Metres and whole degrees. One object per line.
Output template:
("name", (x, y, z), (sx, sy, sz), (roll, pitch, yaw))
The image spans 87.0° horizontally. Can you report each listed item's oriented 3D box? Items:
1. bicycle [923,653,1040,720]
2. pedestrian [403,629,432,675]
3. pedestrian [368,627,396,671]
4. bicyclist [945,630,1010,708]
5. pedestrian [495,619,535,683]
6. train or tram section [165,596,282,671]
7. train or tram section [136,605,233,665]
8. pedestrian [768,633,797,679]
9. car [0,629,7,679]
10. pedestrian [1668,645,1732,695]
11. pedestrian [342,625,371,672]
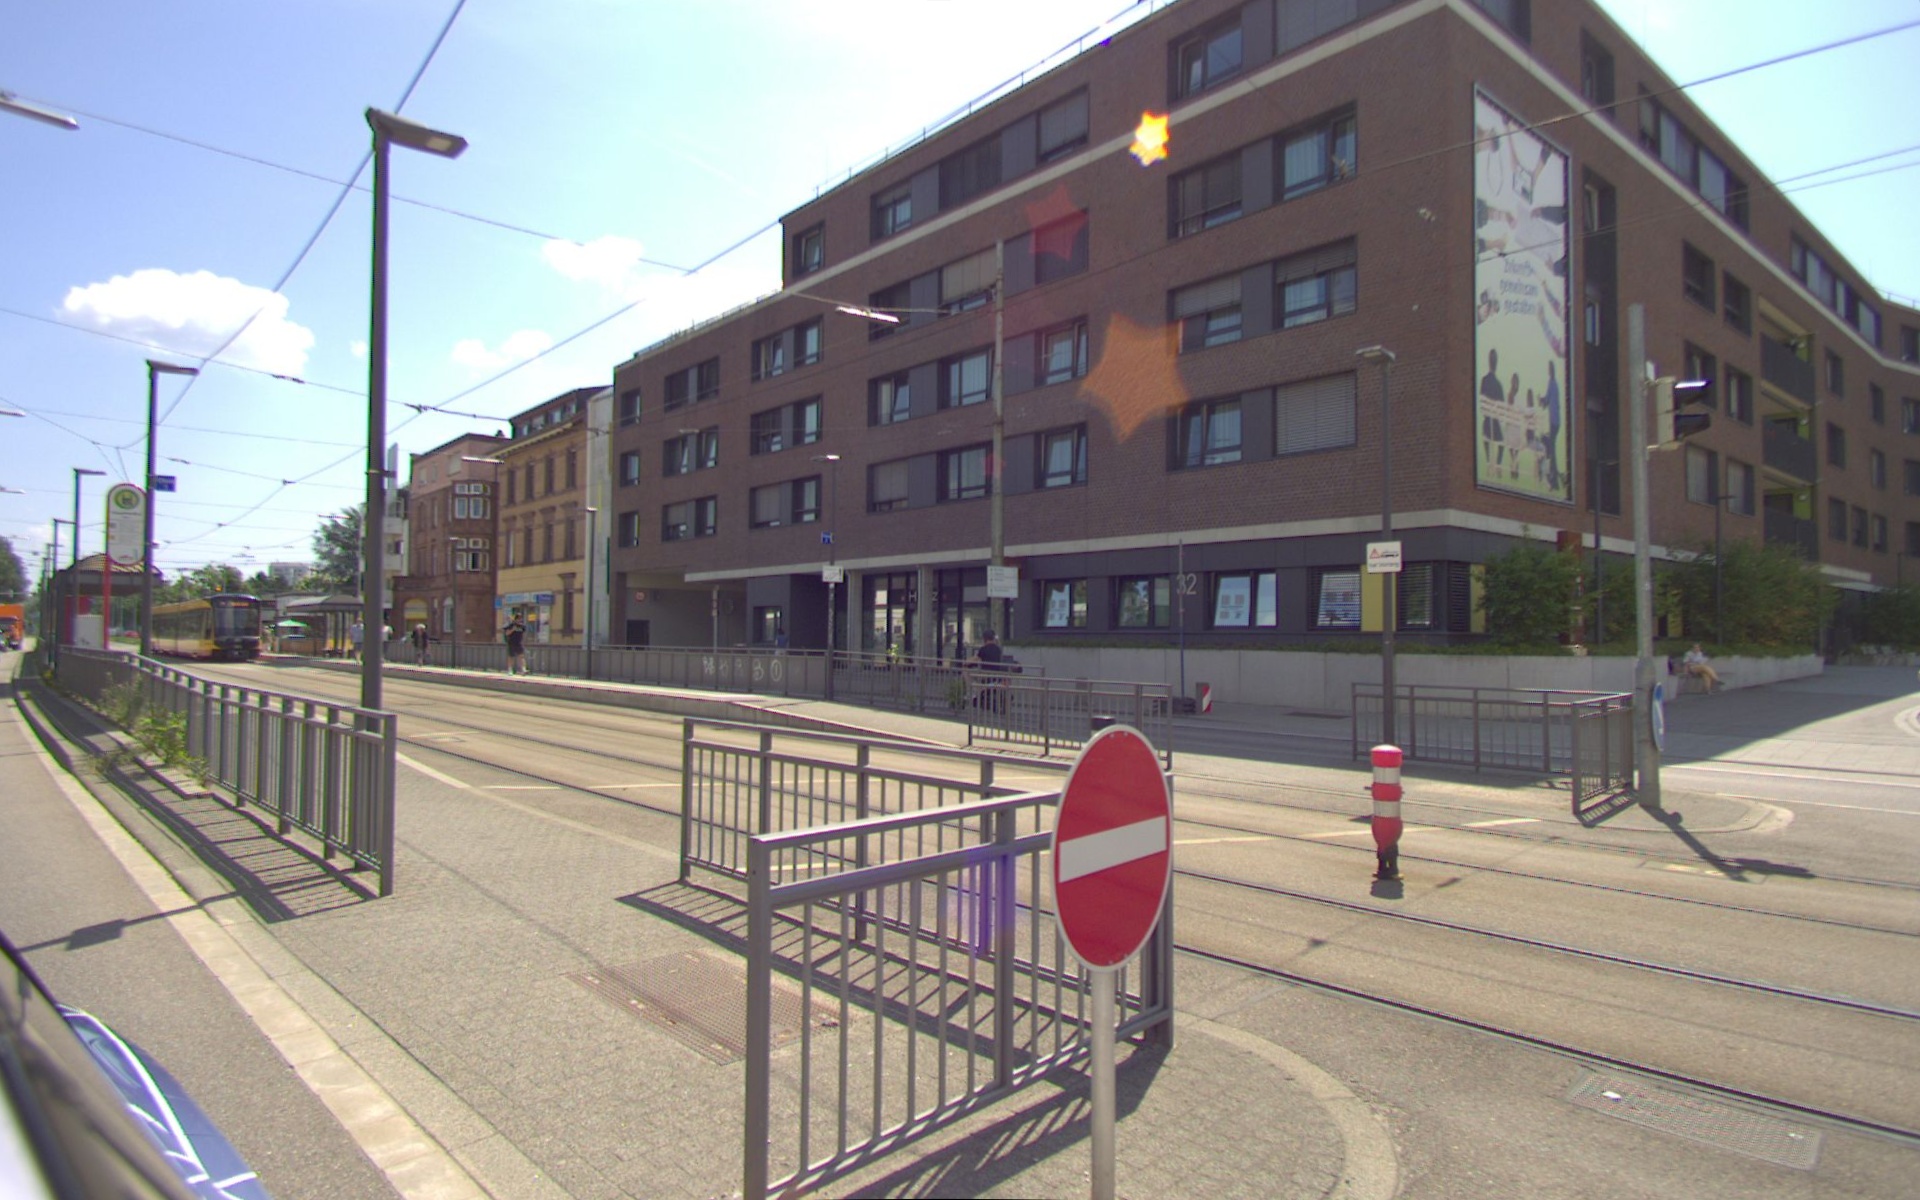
("bicycle", (0.401, 1.695, 20.168), (2.389, 1.232, 0.807), (-2, -4, 43))
("pedestrian", (-19.240, 1.840, 35.883), (0.677, 1.608, 0.762), (4, -4, -44))
("pedestrian", (-22.982, 1.949, 40.227), (0.751, 1.708, 0.809), (4, -4, -44))
("bicyclist", (0.350, 1.357, 20.210), (1.065, 1.516, 0.750), (-2, -3, 41))
("pedestrian", (-12.654, 1.446, 28.796), (0.677, 1.773, 1.034), (4, -4, -44))
("train or tram section", (-40.821, 1.858, 55.688), (3.196, 3.594, 16.366), (3, -3, -43))
("train or tram section", (-53.231, 2.386, 69.072), (3.212, 3.594, 20.521), (3, -3, -43))
("pedestrian", (-6.241, 1.968, 35.636), (0.677, 1.608, 0.762), (4, -4, -44))
("car", (-41.131, 2.205, 42.167), (1.970, 2.029, 4.004), (3, -3, -43))
("pedestrian", (17.299, 1.633, 23.686), (0.749, 1.139, 0.929), (0, -2, -5))
("pedestrian", (-23.920, 1.929, 40.116), (0.751, 1.813, 0.952), (4, -4, -44))
